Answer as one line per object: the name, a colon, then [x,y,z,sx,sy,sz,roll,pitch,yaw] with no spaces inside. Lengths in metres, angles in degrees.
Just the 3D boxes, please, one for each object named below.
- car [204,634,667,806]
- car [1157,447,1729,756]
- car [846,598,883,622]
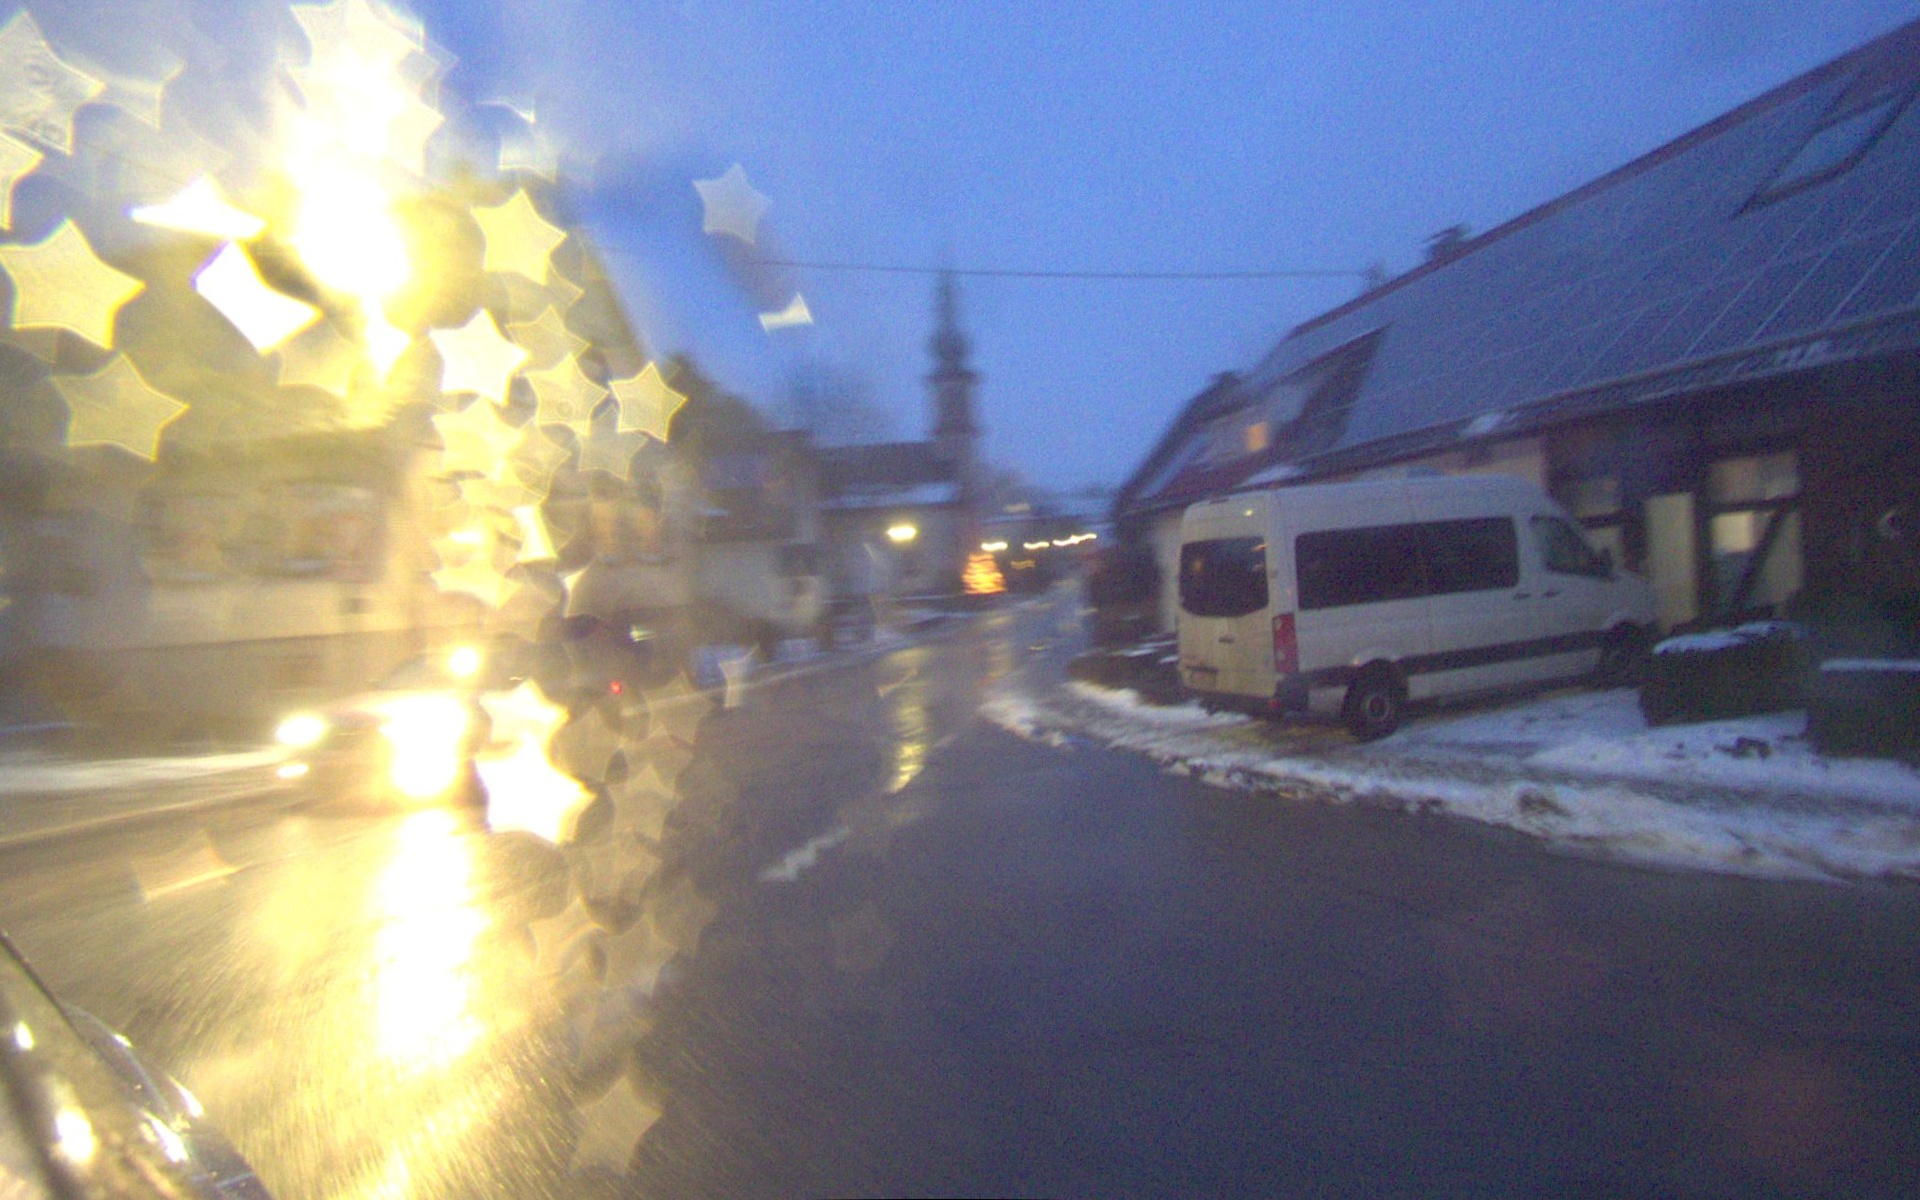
car: [-5.089,1.084,10.834,1.976,1.392,4.922,-1,-2,7]
car: [5.486,-0.137,11.435,6.013,2.571,2.006,-6,2,-19]
car: [-6.779,0.686,71.354,1.726,1.423,4.095,-3,3,-18]
